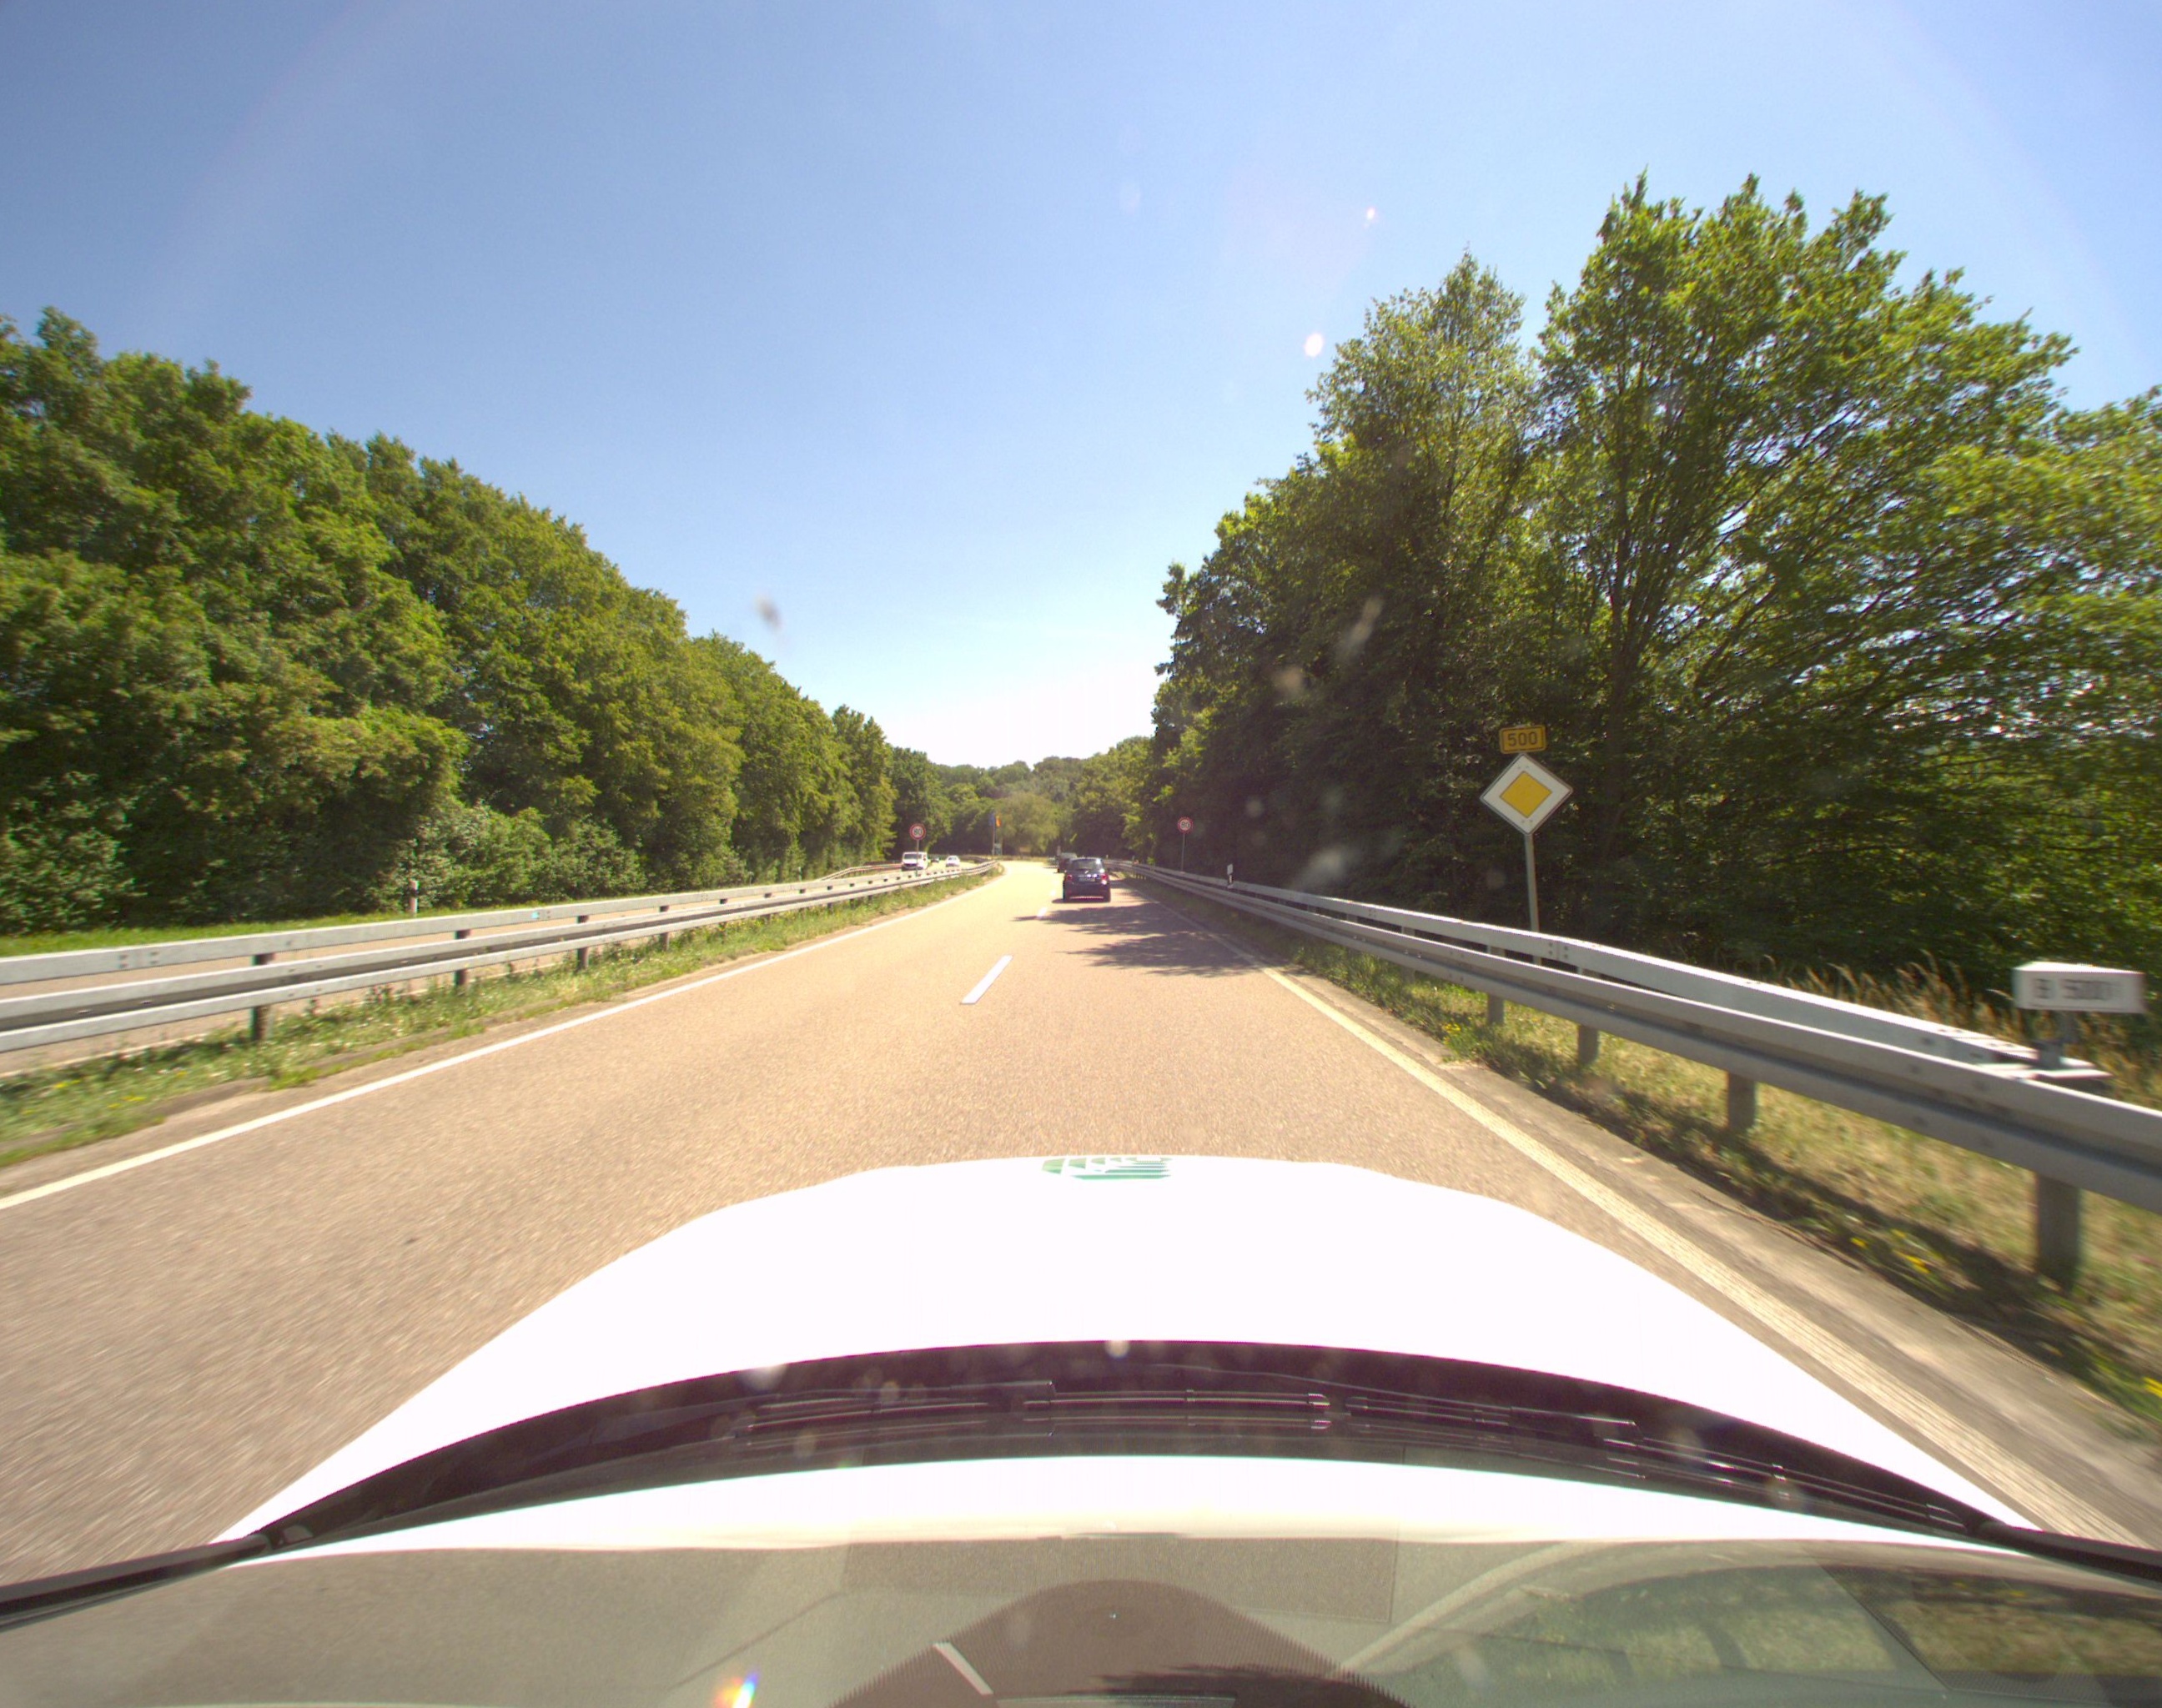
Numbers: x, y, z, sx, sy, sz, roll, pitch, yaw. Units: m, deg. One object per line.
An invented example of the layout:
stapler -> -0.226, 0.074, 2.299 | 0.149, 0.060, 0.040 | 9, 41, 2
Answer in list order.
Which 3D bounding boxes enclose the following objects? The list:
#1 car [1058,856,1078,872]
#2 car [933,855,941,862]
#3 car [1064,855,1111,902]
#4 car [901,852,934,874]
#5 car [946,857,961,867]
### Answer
car -> -1.144, 0.853, 69.598 | 1.522, 1.313, 3.411 | -1, 0, -3
car -> -32.054, 1.081, 181.369 | 1.649, 1.528, 3.989 | -1, 0, -6
car -> 0.221, 0.790, 28.316 | 1.508, 1.501, 3.590 | -1, 0, 1
car -> -14.776, 0.779, 73.813 | 1.984, 1.951, 5.637 | -1, 0, -1
car -> -17.523, 1.085, 112.093 | 1.647, 1.447, 4.215 | -1, 0, -3
